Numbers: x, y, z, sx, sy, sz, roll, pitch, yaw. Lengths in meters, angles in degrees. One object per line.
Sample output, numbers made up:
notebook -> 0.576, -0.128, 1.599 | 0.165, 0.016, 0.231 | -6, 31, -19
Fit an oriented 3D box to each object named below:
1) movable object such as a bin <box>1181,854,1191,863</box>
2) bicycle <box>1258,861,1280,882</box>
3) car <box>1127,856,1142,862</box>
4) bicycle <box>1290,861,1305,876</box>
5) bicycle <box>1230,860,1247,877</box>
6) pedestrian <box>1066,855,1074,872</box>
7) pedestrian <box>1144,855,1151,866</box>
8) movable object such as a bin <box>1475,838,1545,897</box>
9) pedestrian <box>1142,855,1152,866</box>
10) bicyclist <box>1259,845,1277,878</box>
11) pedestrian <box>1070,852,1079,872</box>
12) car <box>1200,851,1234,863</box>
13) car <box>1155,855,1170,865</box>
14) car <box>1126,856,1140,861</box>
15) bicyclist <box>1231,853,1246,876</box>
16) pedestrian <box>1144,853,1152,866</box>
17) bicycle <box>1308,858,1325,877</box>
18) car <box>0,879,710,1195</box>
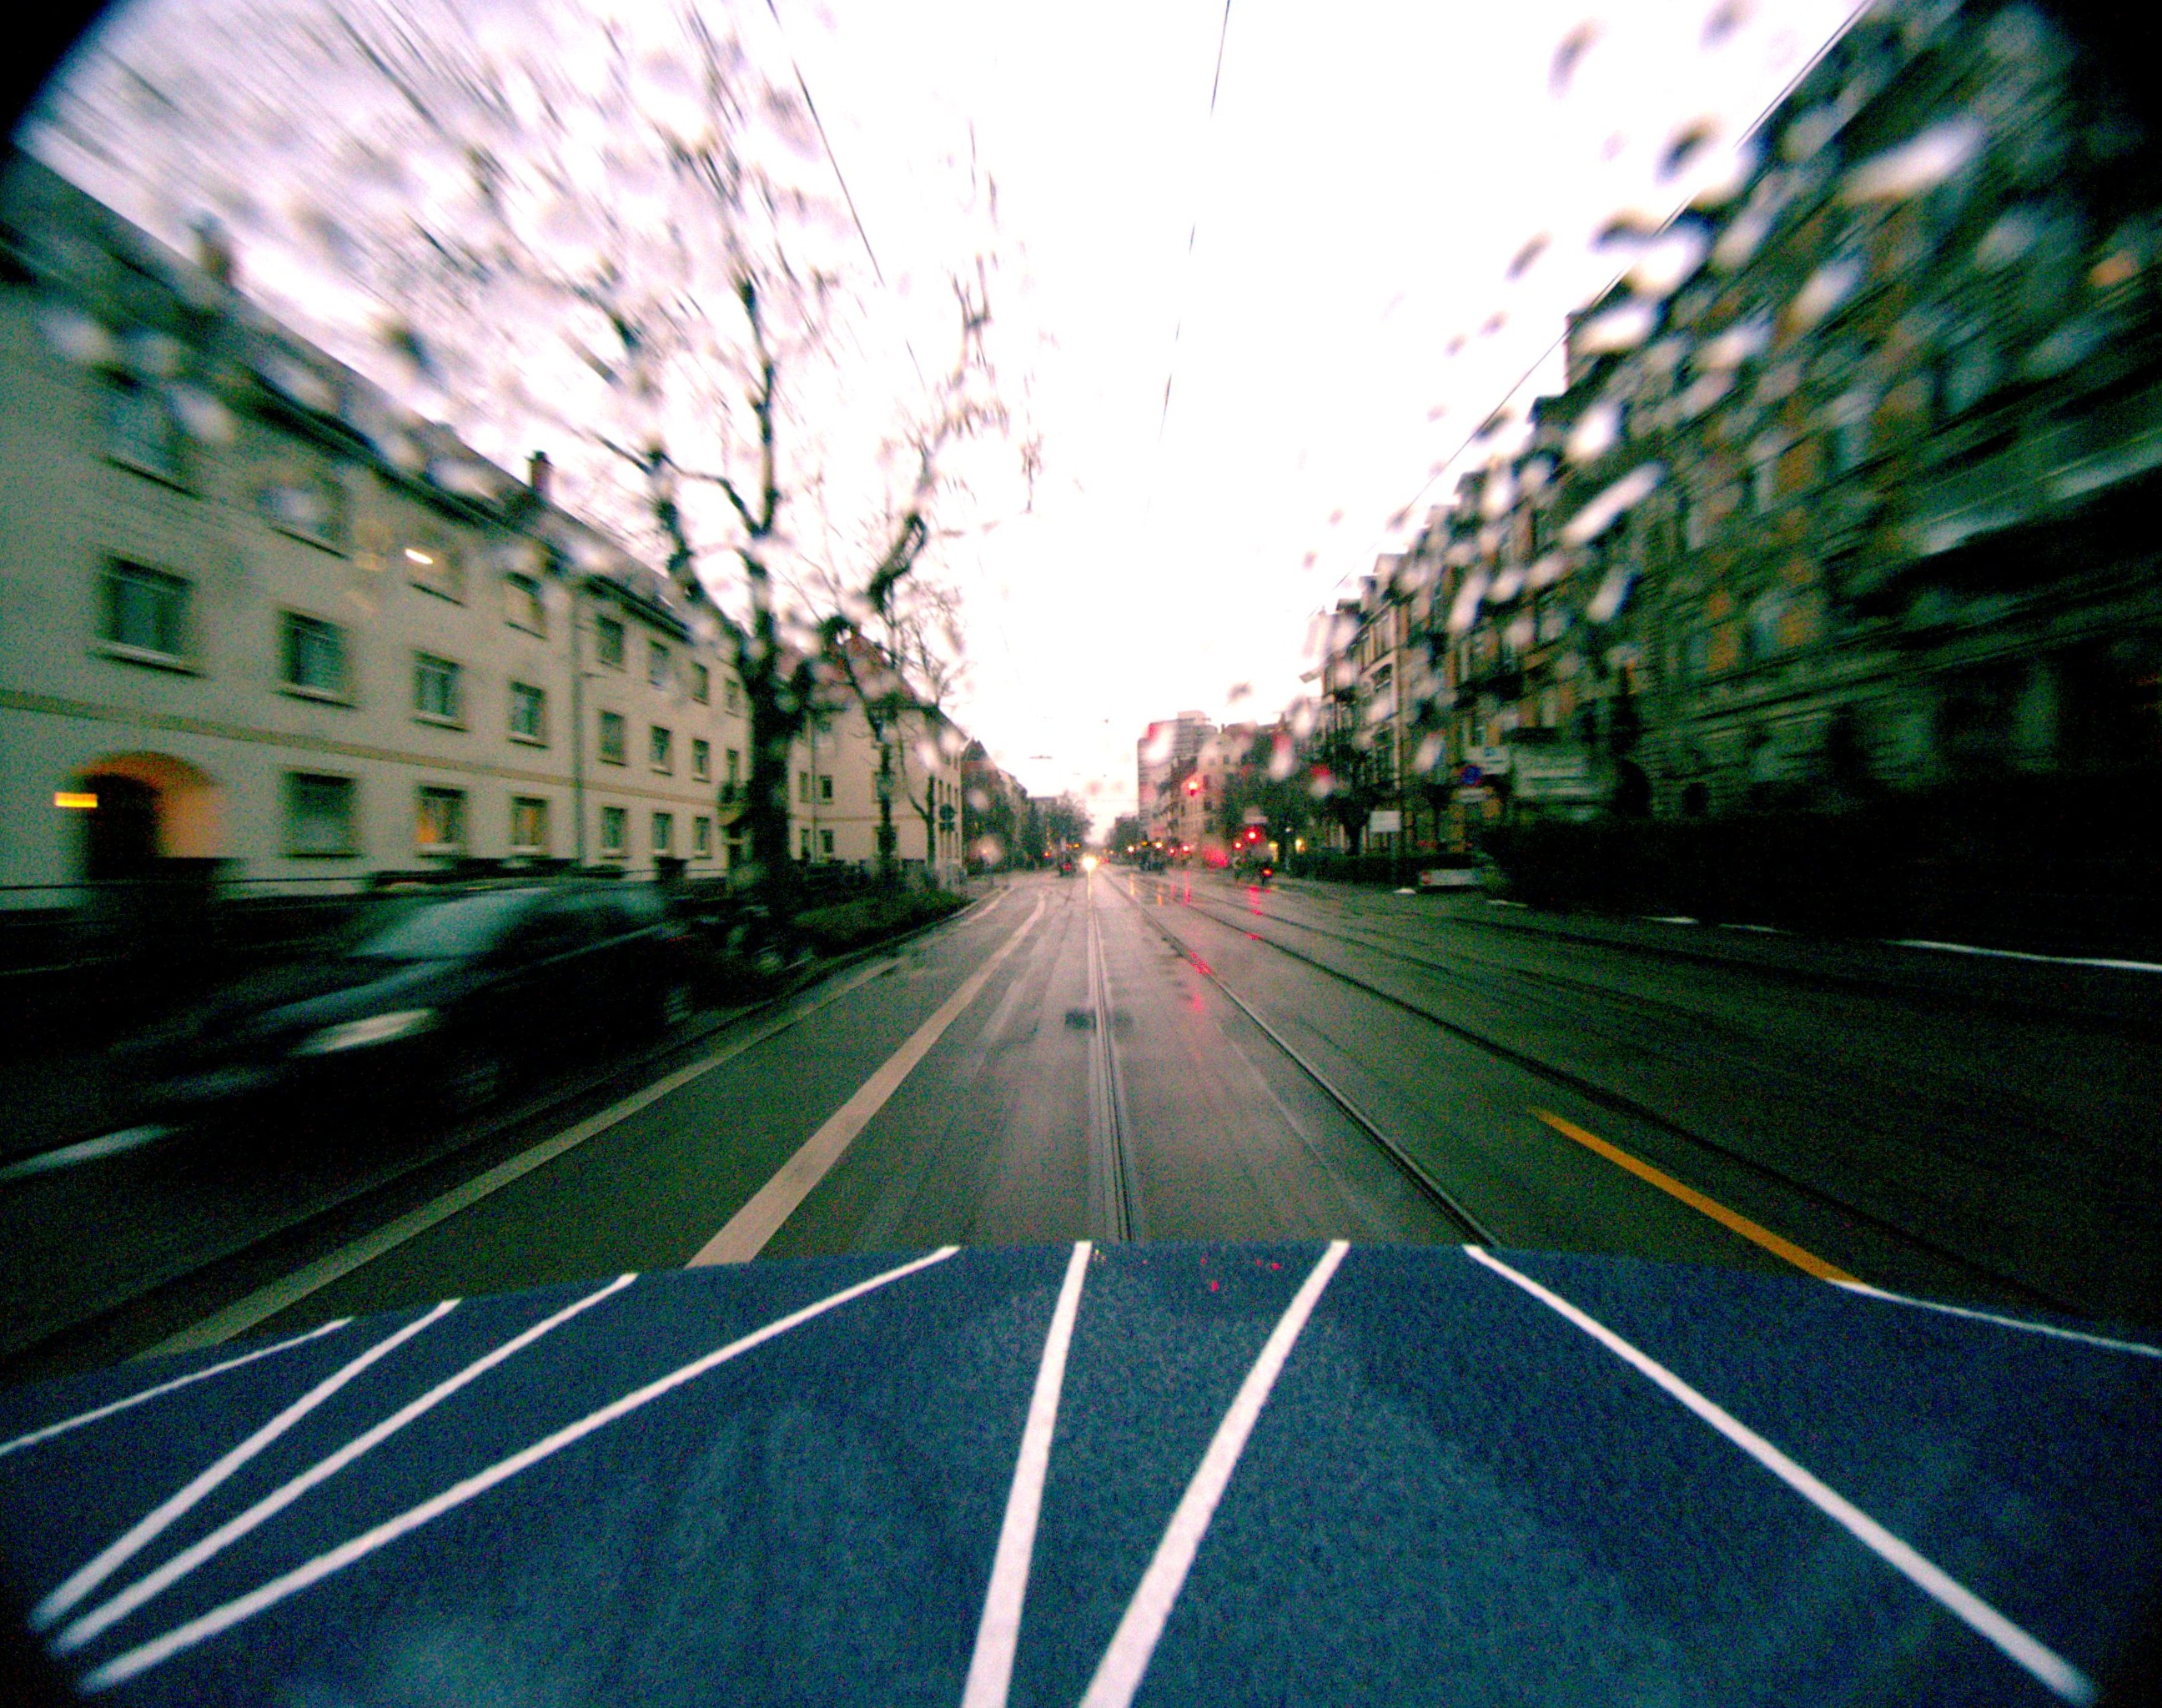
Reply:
movable object such as a bin -> 17.696, 0.798, 127.765 | 1.352, 1.364, 1.281 | -4, 0, 0
bicycle -> 9.338, 0.856, 37.795 | 0.680, 0.966, 1.933 | -2, 0, 2
car -> 13.892, 1.218, 198.083 | 3.839, 1.405, 1.727 | -2, 0, 1
bicycle -> 13.318, 0.873, 46.792 | 0.400, 0.857, 1.849 | -2, 0, 2
bicycle -> 9.913, 0.890, 47.897 | 0.683, 1.001, 1.803 | -1, 0, 2
pedestrian -> -1.112, 0.935, 76.064 | 0.659, 1.698, 0.571 | -4, 1, 1
pedestrian -> 7.570, 0.758, 86.151 | 0.654, 1.211, 0.517 | -4, 0, 0
movable object such as a bin -> 12.124, 0.376, 21.538 | 1.246, 1.576, 1.308 | -2, 0, 6
pedestrian -> 7.567, 0.739, 86.749 | 1.058, 1.247, 0.506 | -4, 0, 0
bicyclist -> 9.310, 0.357, 37.915 | 0.685, 1.606, 0.765 | -2, 1, 2
pedestrian -> -0.645, 0.740, 73.891 | 0.689, 1.906, 0.717 | -2, 1, -10
car -> 18.525, 0.375, 103.646 | 4.335, 1.574, 1.939 | -1, 0, 14
car -> 13.725, 1.054, 127.972 | 1.677, 1.507, 3.677 | -4, 0, -5
car -> 13.741, 1.217, 200.760 | 3.839, 1.405, 1.727 | -1, 0, 1
bicyclist -> 9.897, 0.645, 47.837 | 0.706, 1.356, 0.944 | -3, 1, 1
pedestrian -> 7.746, 0.662, 87.856 | 0.685, 1.395, 0.578 | -4, 0, 0
bicycle -> 12.995, 0.730, 41.965 | 0.417, 1.001, 1.849 | -2, 0, 2
car -> -4.846, 1.035, 6.021 | 1.790, 1.500, 3.987 | -2, 0, 0
